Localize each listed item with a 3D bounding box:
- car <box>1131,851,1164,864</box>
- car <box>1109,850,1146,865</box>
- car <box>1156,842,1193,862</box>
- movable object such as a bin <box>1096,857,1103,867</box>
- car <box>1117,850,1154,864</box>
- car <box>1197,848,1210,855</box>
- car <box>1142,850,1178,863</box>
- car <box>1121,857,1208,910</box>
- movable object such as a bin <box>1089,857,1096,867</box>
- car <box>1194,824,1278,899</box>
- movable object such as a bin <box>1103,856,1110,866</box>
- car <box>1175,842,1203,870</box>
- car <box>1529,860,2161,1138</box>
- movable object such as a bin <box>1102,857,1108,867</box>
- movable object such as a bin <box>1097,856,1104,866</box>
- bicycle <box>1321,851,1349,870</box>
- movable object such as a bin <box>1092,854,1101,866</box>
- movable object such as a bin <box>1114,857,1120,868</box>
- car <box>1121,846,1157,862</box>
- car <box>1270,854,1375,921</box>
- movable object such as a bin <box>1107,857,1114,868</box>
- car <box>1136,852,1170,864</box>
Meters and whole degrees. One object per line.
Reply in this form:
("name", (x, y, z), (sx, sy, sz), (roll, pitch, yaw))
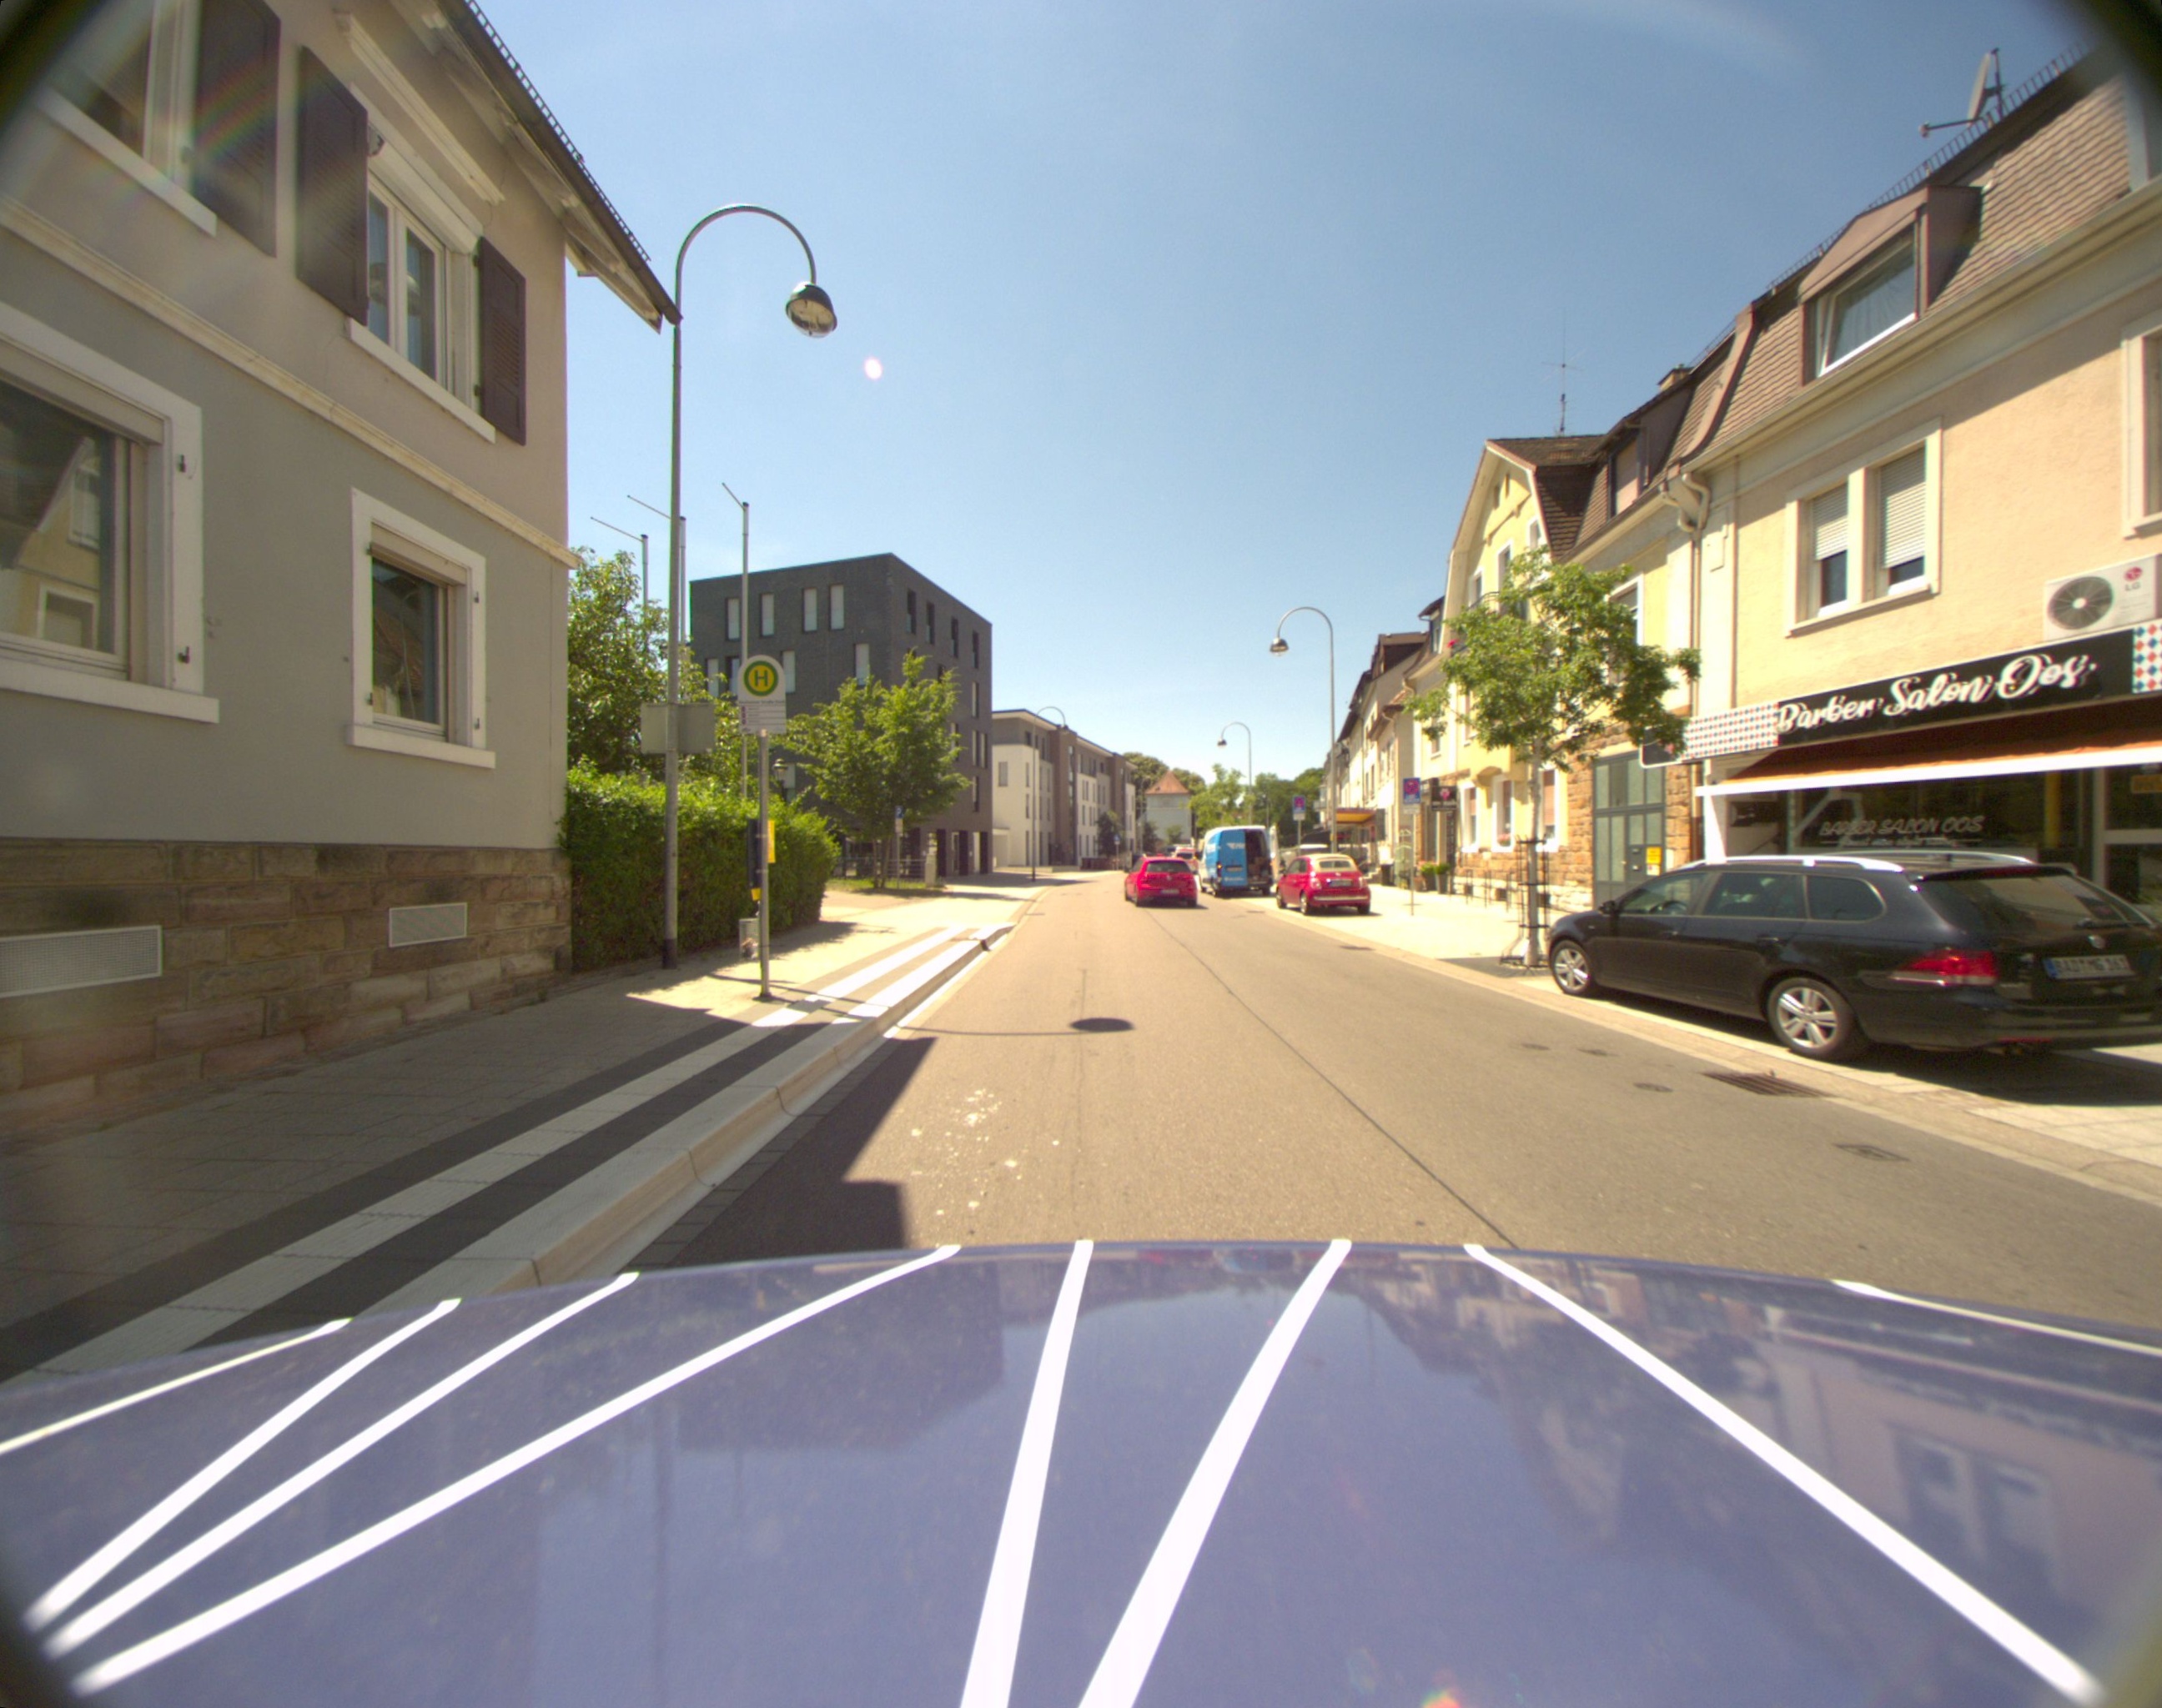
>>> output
("car", (7.885, 0.378, 89.923), (3.612, 1.454, 1.618), (1, 1, 16))
("car", (5.076, 0.360, 82.613), (3.660, 1.437, 1.537), (2, 2, 19))
("car", (13.089, -0.362, 106.102), (4.860, 2.720, 1.853), (1, 1, 17))
("movable object such as a bin", (1.715, 0.750, 70.167), (0.474, 0.925, 0.529), (2, 2, 17))
("car", (6.125, 0.352, 84.554), (3.813, 1.474, 1.780), (1, 1, 15))
("car", (25.836, -0.561, 160.310), (1.622, 1.445, 3.859), (1, 1, -10))
("car", (9.991, 0.316, 95.958), (4.353, 1.542, 1.654), (1, 1, 14))
("car", (2.422, 0.835, 23.028), (1.921, 1.418, 3.978), (1, 0, -4))
("movable object such as a bin", (1.041, 0.745, 70.390), (0.474, 0.925, 0.529), (2, 2, 17))
("car", (5.649, 0.240, 28.415), (2.097, 2.483, 5.503), (-2, 0, 2))
("movable object such as a bin", (2.381, 0.670, 70.648), (0.465, 0.925, 0.523), (2, 2, 17))
("car", (9.656, 0.174, 67.613), (2.159, 2.348, 5.251), (1, 1, 11))
("car", (6.170, 0.858, 6.576), (1.920, 1.473, 4.336), (-3, 0, -1))
("movable object such as a bin", (2.220, 0.755, 70.025), (0.474, 0.925, 0.529), (2, 2, 17))
("movable object such as a bin", (1.796, 0.647, 70.812), (0.465, 0.925, 0.523), (2, 2, 17))
("bicycle", (17.874, 0.437, 53.429), (1.767, 1.227, 0.617), (-3, 0, 16))
("movable object such as a bin", (1.472, 0.581, 72.747), (0.646, 1.054, 0.626), (2, 2, 18))
("movable object such as a bin", (3.302, 0.786, 69.675), (0.474, 0.925, 0.529), (2, 2, 17))
("car", (6.623, 0.031, 86.796), (3.813, 1.776, 1.842), (1, 1, 15))
("car", (6.173, 0.790, 19.795), (1.564, 1.512, 3.514), (-1, 1, -1))
("movable object such as a bin", (2.724, 0.771, 69.876), (0.474, 0.925, 0.529), (2, 2, 17))
("car", (8.709, 0.478, 92.136), (3.813, 1.454, 1.654), (1, 1, 16))
